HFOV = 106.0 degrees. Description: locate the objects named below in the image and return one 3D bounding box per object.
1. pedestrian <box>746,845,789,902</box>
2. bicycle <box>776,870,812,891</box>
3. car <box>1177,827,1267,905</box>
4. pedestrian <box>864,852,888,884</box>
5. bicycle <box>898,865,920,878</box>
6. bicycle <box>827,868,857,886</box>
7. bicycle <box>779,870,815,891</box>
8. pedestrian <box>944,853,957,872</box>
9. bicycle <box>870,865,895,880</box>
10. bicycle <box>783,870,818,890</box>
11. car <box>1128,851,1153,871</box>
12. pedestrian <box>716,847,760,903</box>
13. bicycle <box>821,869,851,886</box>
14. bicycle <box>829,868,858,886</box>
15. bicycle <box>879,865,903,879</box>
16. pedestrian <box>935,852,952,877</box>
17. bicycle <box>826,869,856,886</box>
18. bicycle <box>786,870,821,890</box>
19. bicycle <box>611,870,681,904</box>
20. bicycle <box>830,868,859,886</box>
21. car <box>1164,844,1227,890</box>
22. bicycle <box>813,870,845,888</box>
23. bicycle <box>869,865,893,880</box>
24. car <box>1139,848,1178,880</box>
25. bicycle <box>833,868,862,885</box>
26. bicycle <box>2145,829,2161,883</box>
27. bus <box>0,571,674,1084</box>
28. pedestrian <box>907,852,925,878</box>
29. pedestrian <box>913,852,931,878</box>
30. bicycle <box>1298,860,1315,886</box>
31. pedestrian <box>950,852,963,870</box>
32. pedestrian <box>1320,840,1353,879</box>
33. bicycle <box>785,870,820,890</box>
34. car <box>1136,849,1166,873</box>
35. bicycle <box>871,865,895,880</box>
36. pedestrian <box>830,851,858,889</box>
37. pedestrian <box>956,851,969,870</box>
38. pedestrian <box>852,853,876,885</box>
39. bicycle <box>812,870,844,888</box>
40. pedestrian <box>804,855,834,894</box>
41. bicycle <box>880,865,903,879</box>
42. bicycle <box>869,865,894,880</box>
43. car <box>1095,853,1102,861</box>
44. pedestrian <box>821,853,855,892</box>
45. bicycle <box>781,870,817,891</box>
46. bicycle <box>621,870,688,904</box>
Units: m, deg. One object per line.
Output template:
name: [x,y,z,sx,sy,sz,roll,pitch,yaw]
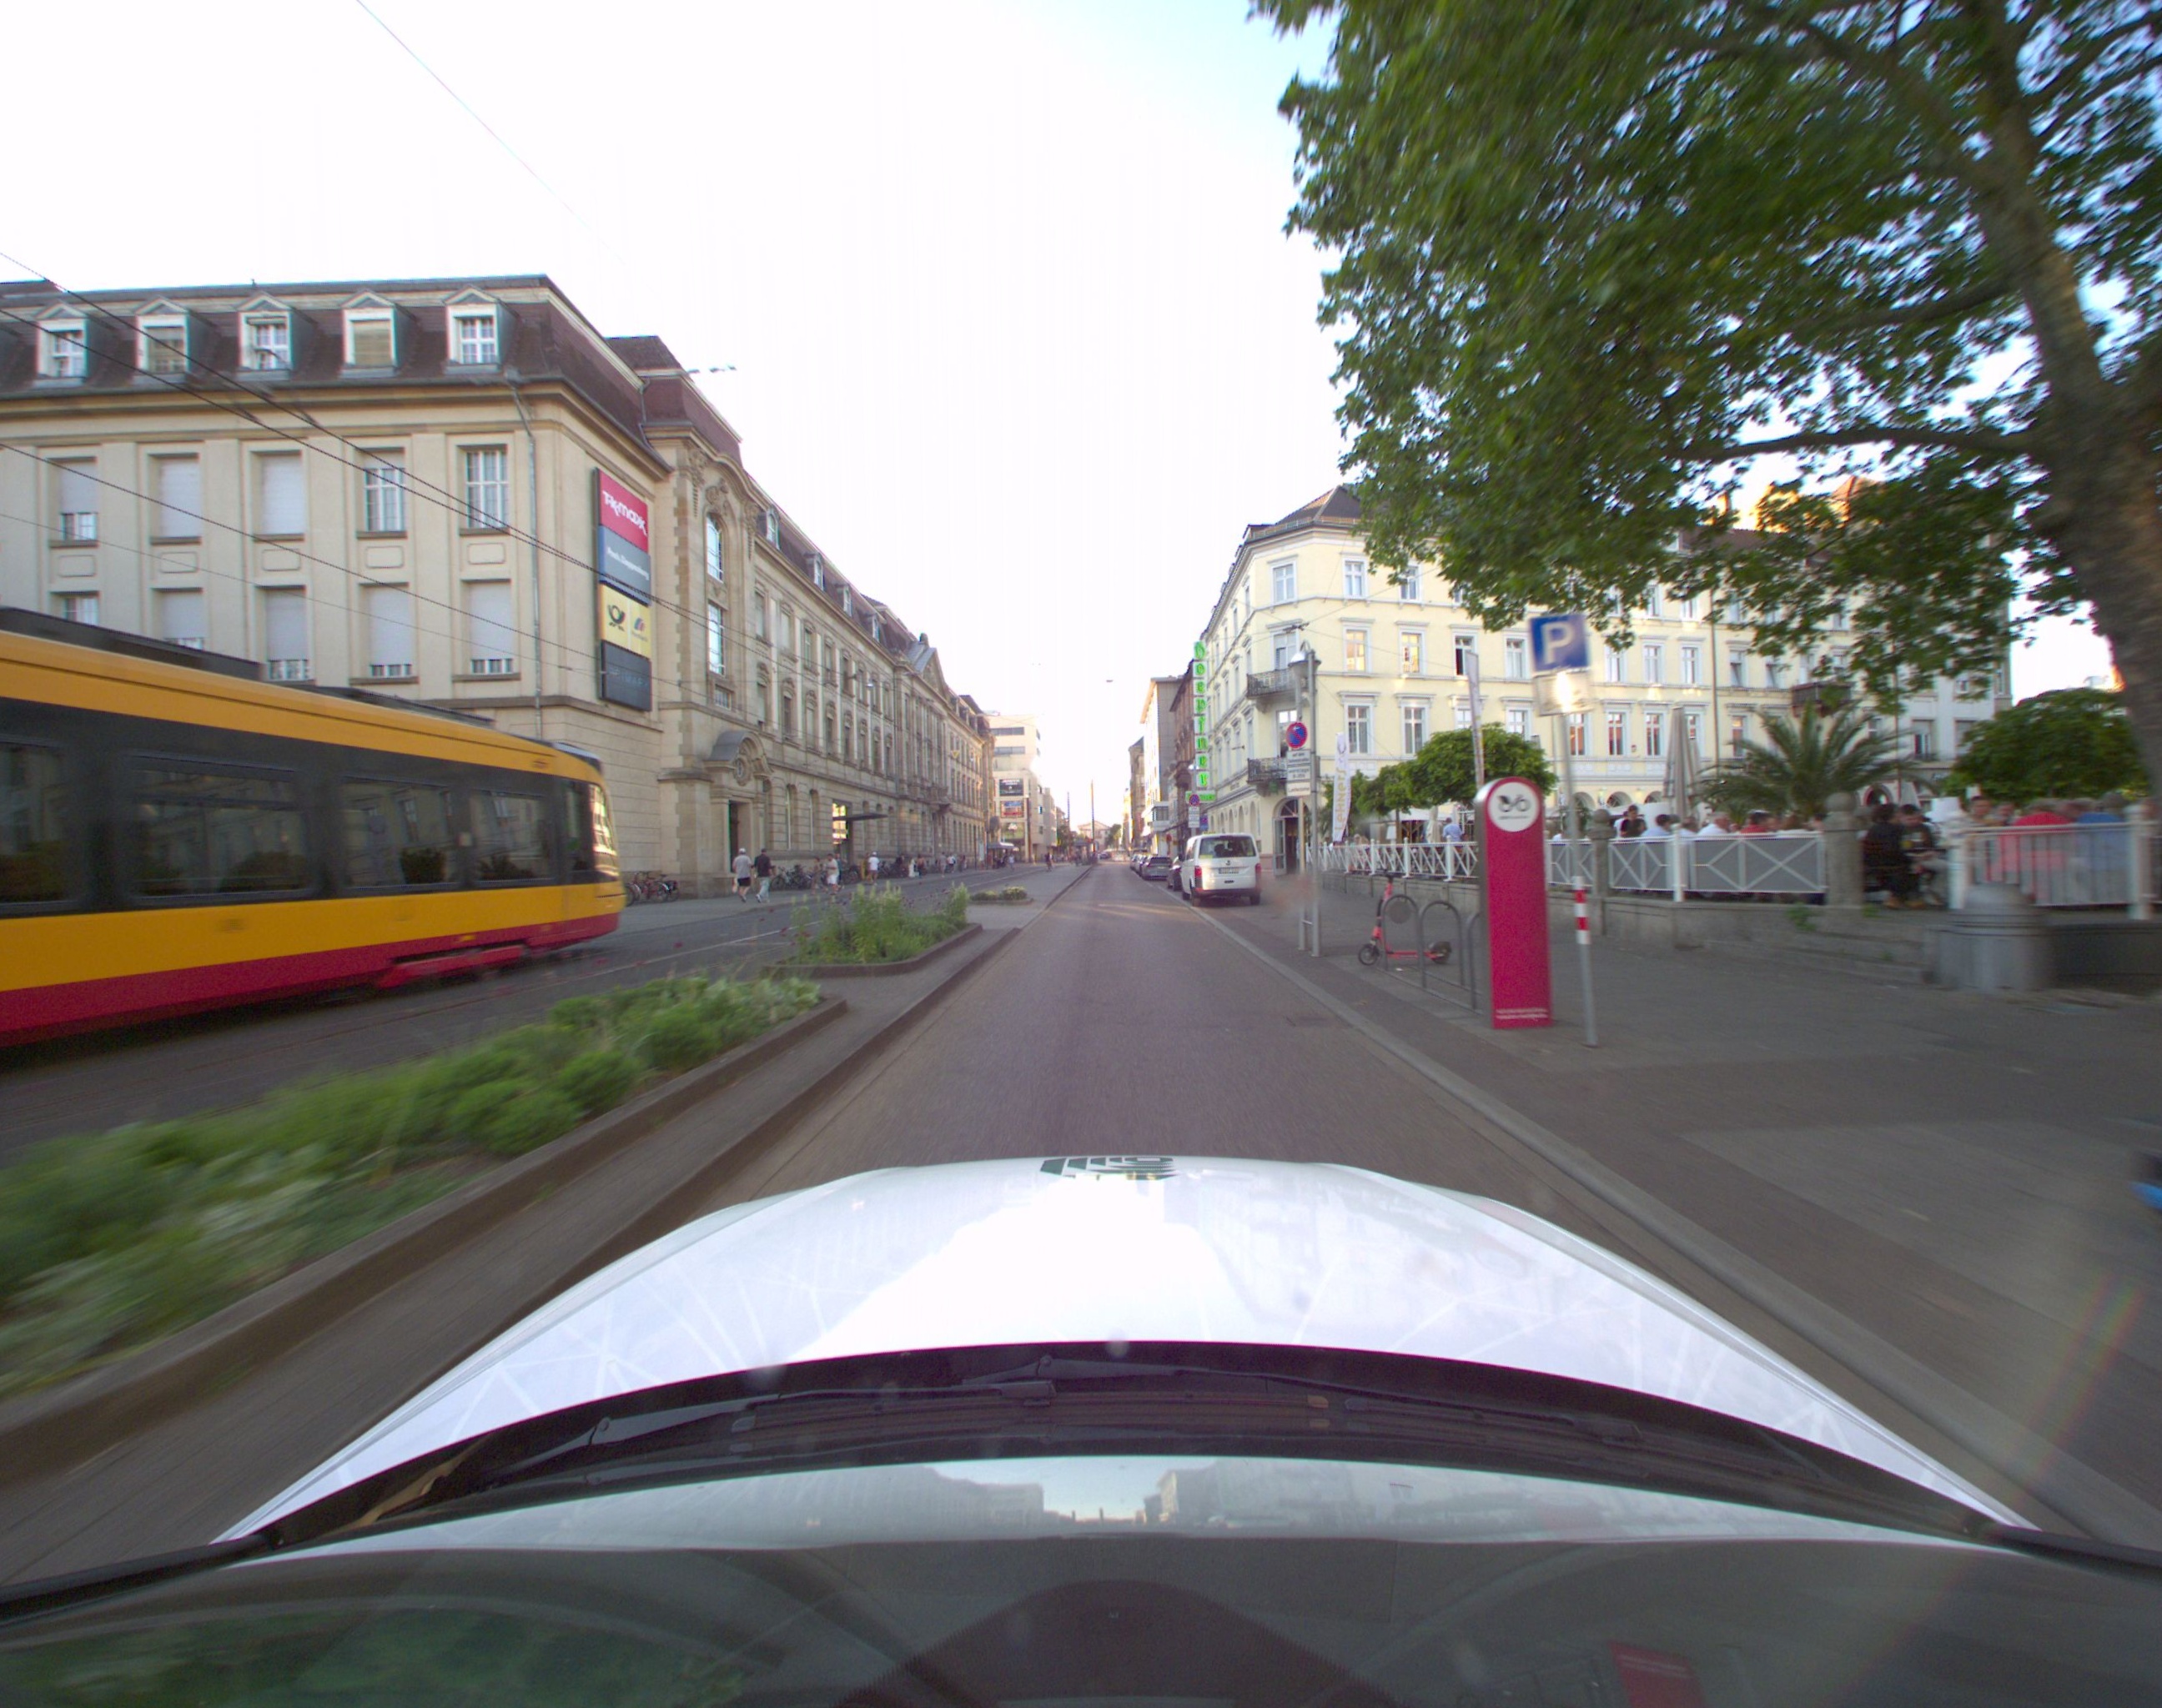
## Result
pedestrian: [-10.270,0.637,26.713,0.958,1.811,0.907,-2,-2,8]
bicycle: [-13.693,1.249,38.894,1.583,0.949,0.358,-1,-1,-11]
car: [3.968,0.330,23.575,1.908,1.981,4.423,-2,0,2]
pedestrian: [-10.882,0.769,43.271,0.873,1.653,0.879,-2,-2,15]
bicycle: [-13.276,1.335,62.914,1.583,0.949,0.358,-1,-2,-11]
bicycle: [-13.645,1.319,46.531,1.583,0.949,0.358,-1,-2,-11]
bicycle: [-13.735,1.265,39.436,1.583,0.949,0.358,-1,-2,-11]
pedestrian: [-11.709,0.756,72.982,1.051,1.686,0.903,-1,0,-17]
bicycle: [-13.769,1.293,56.509,1.583,0.949,0.358,-1,-2,-11]
bicycle: [-13.857,1.295,40.284,1.583,0.949,0.358,-1,-2,-11]
car: [5.393,0.696,74.365,1.986,1.667,4.422,-2,-2,2]
pedestrian: [-11.355,0.695,26.987,0.958,1.786,0.907,-2,-2,8]
bicycle: [-13.714,1.317,45.623,1.583,0.949,0.358,-1,-2,-11]
bicycle: [-13.698,1.332,46.972,1.582,0.949,0.358,-1,-2,-10]
bicycle: [-13.570,1.266,58.141,1.583,0.949,0.358,-1,-2,-11]
pedestrian: [-9.487,0.717,56.187,1.048,1.686,0.905,-2,-2,-8]
bicycle: [-13.594,1.323,46.094,1.582,0.949,0.358,-1,-2,-10]
bicycle: [-13.998,1.311,41.098,1.583,0.949,0.358,-1,-2,-11]
bicycle: [-15.406,1.163,28.872,2.092,1.148,0.574,-2,-2,-3]
bicycle: [-13.761,1.339,47.430,1.583,0.949,0.358,-1,-2,-11]
car: [4.547,0.515,32.969,1.986,1.667,4.422,-2,-1,2]
bicycle: [-13.603,1.339,43.935,1.583,0.949,0.358,-1,-1,-11]
bicycle: [-13.679,1.284,55.656,1.583,0.949,0.358,-1,-2,-11]
car: [4.543,0.596,48.376,1.986,1.761,4.422,-2,-1,2]
bicycle: [-13.870,1.328,48.327,1.583,0.949,0.358,-1,-2,-11]
bicycle: [26.730,0.023,19.112,2.089,1.291,0.445,-1,0,36]
bus: [-8.899,-0.139,8.555,2.811,3.612,11.828,-2,0,2]
pedestrian: [-10.873,0.713,53.559,1.048,1.686,0.905,-2,-2,-8]
pedestrian: [-10.777,0.756,55.228,1.048,1.686,0.905,-2,-2,-8]
bicycle: [8.001,0.691,28.951,0.249,0.902,1.374,-2,-2,2]
pedestrian: [-12.395,0.686,80.987,1.043,1.686,0.793,-2,0,7]
pedestrian: [8.678,0.198,27.657,0.820,1.306,0.870,-2,-2,1]
bicycle: [-13.920,1.299,40.693,1.583,0.949,0.358,-1,-2,-11]
car: [5.192,0.567,61.213,1.986,1.667,4.422,-2,-2,2]
bicycle: [-13.814,1.296,56.944,1.583,0.949,0.358,-1,-2,-11]
pedestrian: [-10.929,0.731,37.536,0.869,1.710,1.132,-2,-2,3]
pedestrian: [-10.886,0.595,74.928,1.051,1.686,0.903,-2,0,-17]
pedestrian: [-11.845,0.820,44.474,0.864,1.720,0.887,-3,-2,25]
bicycle: [-13.517,1.331,43.498,1.583,0.949,0.358,-1,-2,-11]
pedestrian: [-10.358,0.806,32.213,0.750,1.514,0.868,-1,-1,45]
bicycle: [-13.661,1.278,58.604,1.583,0.949,0.358,-1,-2,-11]
bicycle: [-13.741,1.293,56.107,1.582,0.949,0.358,-2,-2,-9]
car: [4.587,0.775,213.215,1.754,1.827,3.571,-2,-2,2]
pedestrian: [-9.445,0.712,31.675,0.710,1.514,1.043,-1,-1,45]
bicycle: [-13.791,1.285,39.834,1.583,0.949,0.358,-1,-2,-11]
bicycle: [-15.446,1.200,29.539,2.072,1.148,0.574,-2,-2,-3]
